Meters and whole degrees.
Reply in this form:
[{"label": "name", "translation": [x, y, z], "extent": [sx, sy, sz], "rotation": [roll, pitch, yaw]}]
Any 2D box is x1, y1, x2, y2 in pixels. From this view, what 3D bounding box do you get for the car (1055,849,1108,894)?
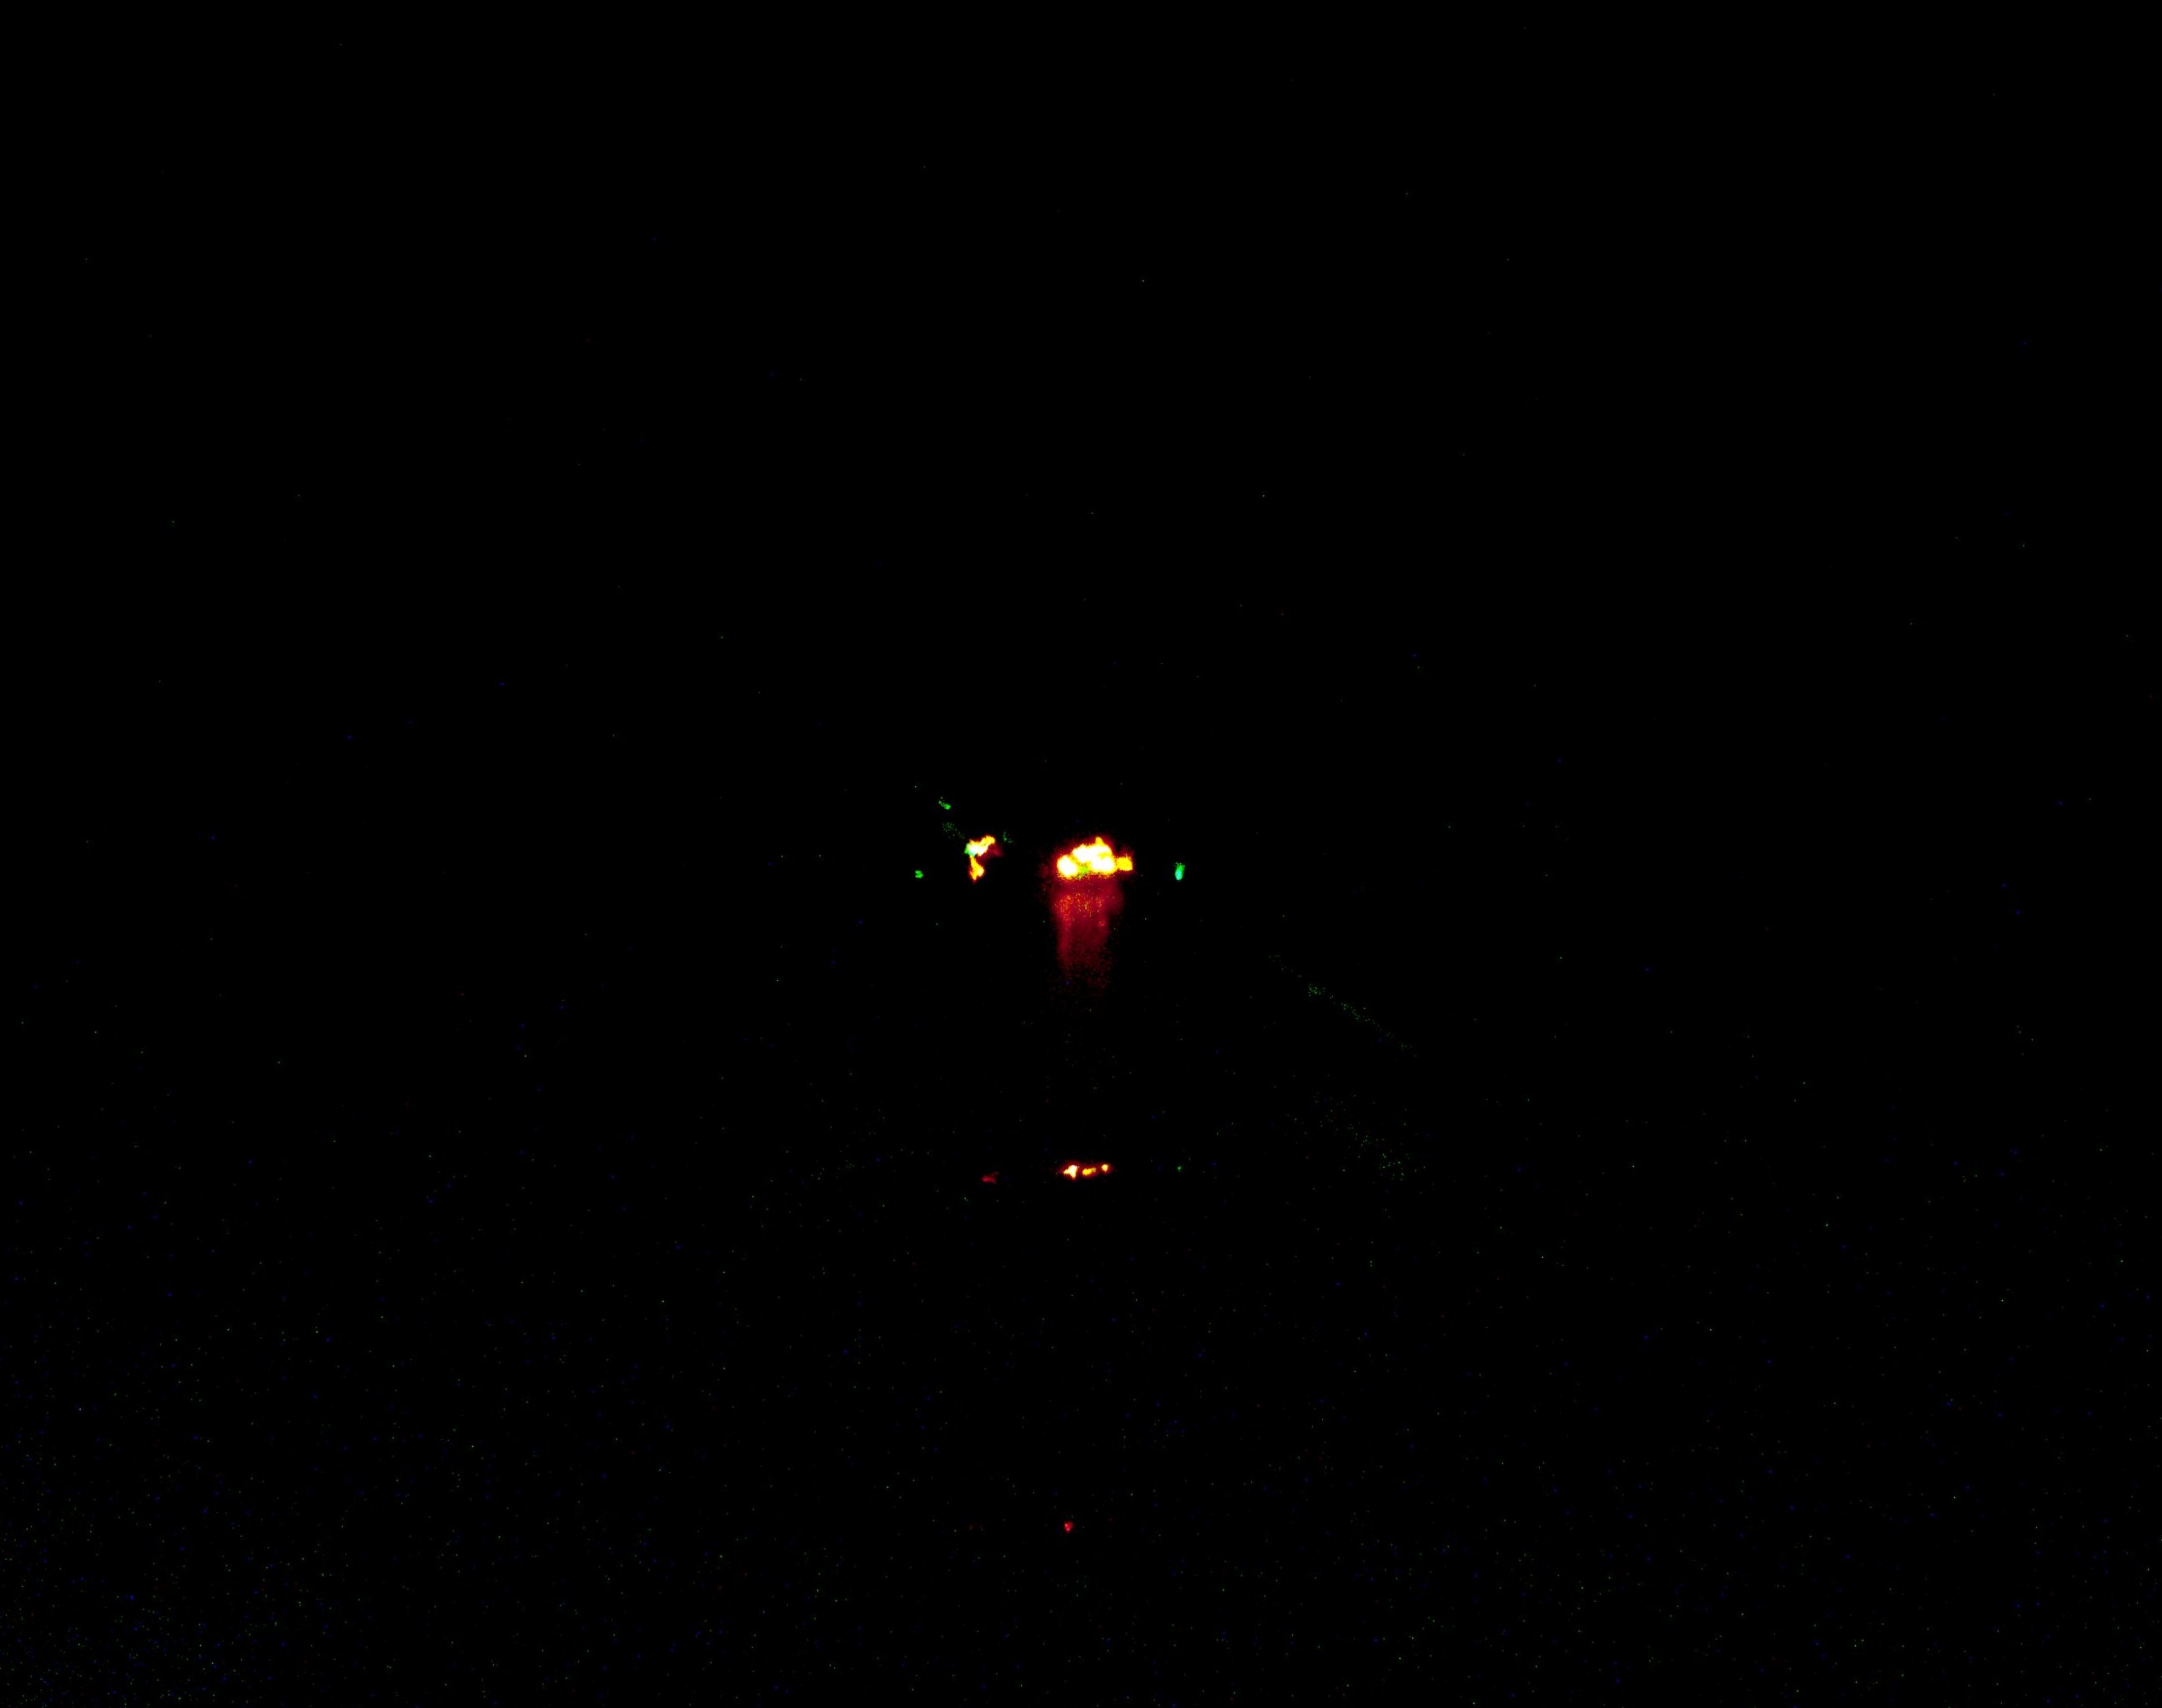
[{"label": "car", "translation": [-0.037, 0.651, 33.349], "extent": [1.988, 1.628, 4.982], "rotation": [0, 1, -2]}]
